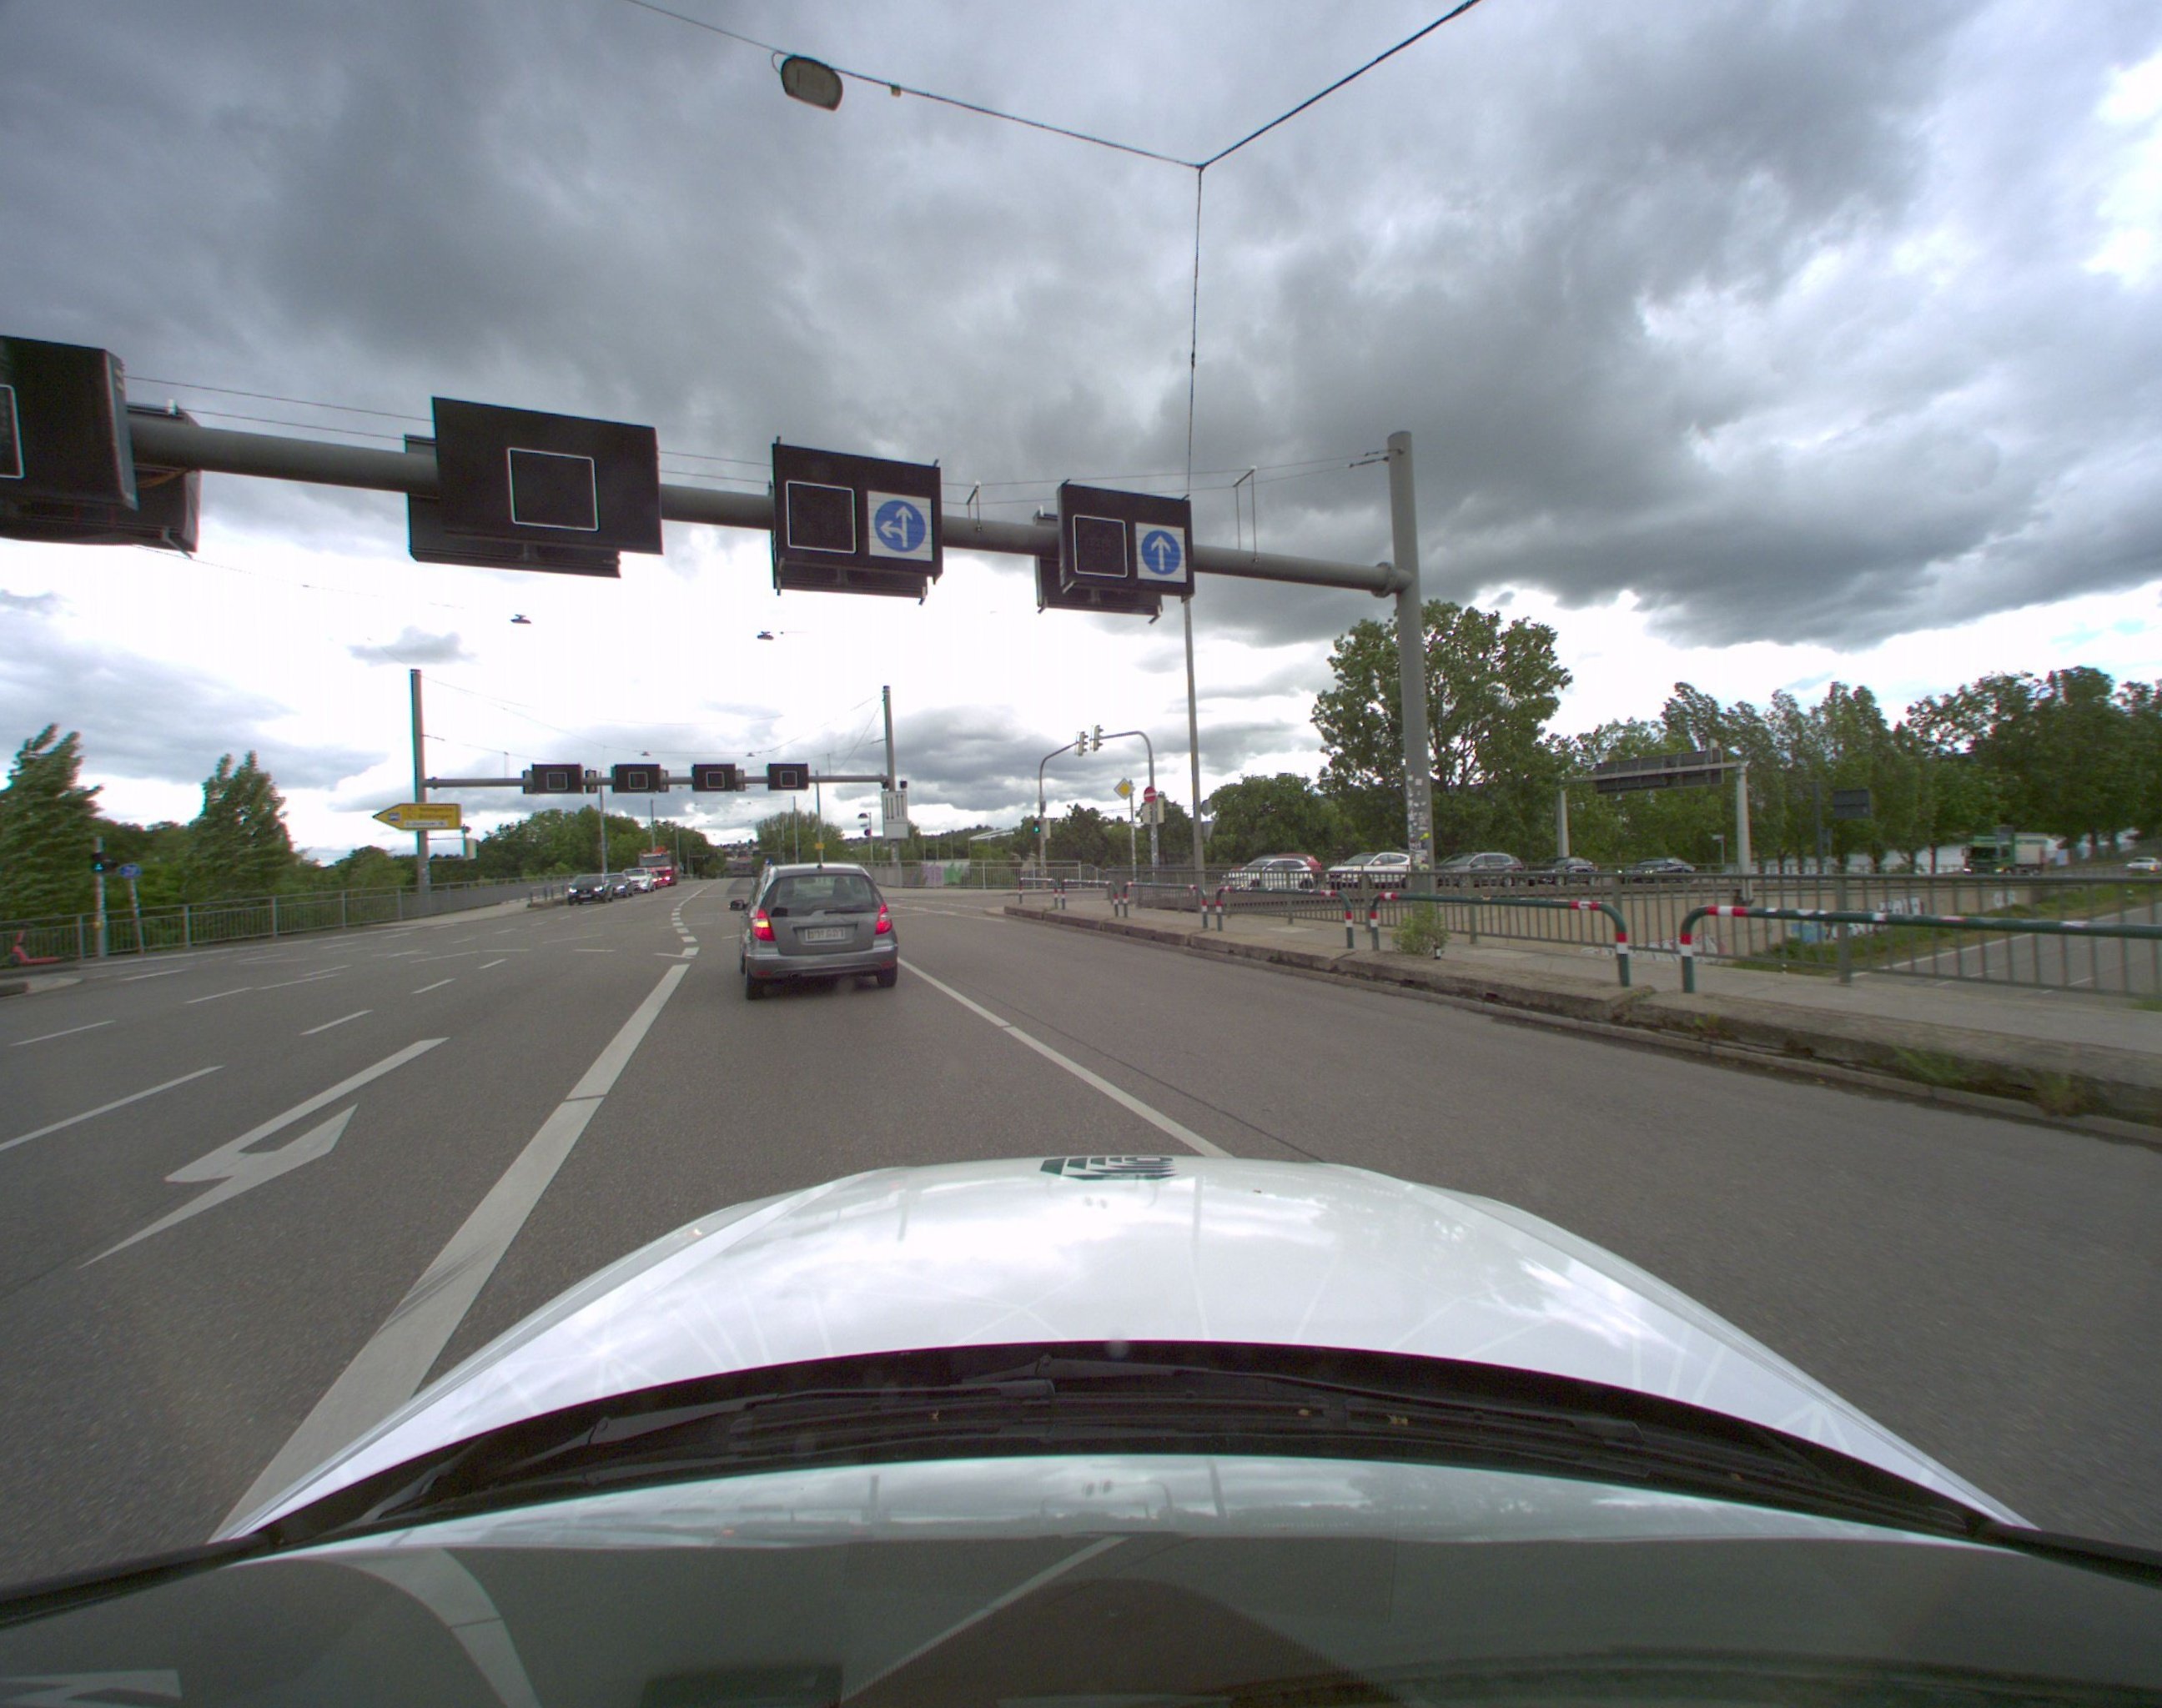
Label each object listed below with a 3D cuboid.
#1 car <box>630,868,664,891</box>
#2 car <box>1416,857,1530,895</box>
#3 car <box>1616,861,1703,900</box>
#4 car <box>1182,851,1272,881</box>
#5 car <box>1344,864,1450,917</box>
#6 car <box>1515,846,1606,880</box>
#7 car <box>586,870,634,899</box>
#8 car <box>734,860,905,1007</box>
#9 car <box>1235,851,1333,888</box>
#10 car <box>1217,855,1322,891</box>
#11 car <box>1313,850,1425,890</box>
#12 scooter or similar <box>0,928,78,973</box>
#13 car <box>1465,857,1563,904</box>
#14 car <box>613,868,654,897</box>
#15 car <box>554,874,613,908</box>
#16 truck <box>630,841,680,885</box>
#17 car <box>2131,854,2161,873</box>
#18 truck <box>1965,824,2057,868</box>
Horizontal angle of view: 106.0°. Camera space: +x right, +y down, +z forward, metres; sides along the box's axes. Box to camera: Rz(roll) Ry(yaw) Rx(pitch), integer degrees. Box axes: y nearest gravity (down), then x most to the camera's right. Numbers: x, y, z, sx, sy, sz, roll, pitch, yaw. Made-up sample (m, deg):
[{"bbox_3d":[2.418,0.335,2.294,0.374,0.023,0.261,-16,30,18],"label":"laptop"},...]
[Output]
[{"bbox_3d":[-34.300,1.988,64.446,1.888,1.602,3.984,-4,1,-23],"label":"car"},{"bbox_3d":[18.209,0.999,37.831,4.969,1.619,1.984,-1,-2,-24],"label":"car"},{"bbox_3d":[31.205,1.377,43.916,4.006,1.617,1.984,-6,2,-24],"label":"car"},{"bbox_3d":[7.220,0.590,40.289,4.161,1.421,1.681,-1,-2,-26],"label":"car"},{"bbox_3d":[15.332,1.719,39.518,4.552,2.013,2.195,-5,2,-25],"label":"car"},{"bbox_3d":[24.118,0.451,40.988,4.006,1.618,1.984,-1,-2,-24],"label":"car"},{"bbox_3d":[-28.249,1.798,48.940,1.844,1.504,4.482,-4,1,-23],"label":"car"},{"bbox_3d":[-3.685,0.893,11.035,1.753,1.550,3.840,-2,0,-24],"label":"car"},{"bbox_3d":[9.003,0.676,36.135,4.015,1.540,1.681,-1,-2,-25],"label":"car"},{"bbox_3d":[7.519,0.762,32.549,3.770,1.313,1.776,-1,-2,-24],"label":"car"},{"bbox_3d":[12.431,0.687,35.197,4.348,1.619,1.984,-1,-2,-24],"label":"car"},{"bbox_3d":[-29.693,2.725,23.143,1.340,1.056,0.480,-6,2,-31],"label":"scooter or similar"},{"bbox_3d":[22.990,1.358,43.237,4.552,2.013,2.195,-5,2,-25],"label":"car"},{"bbox_3d":[-30.969,1.930,56.480,1.888,1.761,4.765,-4,1,-23],"label":"car"},{"bbox_3d":[-25.903,1.885,42.545,1.842,1.504,3.844,-4,1,-21],"label":"car"},{"bbox_3d":[-38.502,0.779,73.969,3.019,3.565,9.905,-4,1,-23],"label":"truck"},{"bbox_3d":[112.756,0.975,85.846,3.781,1.669,1.982,-6,2,-28],"label":"car"},{"bbox_3d":[82.855,-0.733,72.546,9.271,3.509,2.760,-3,0,-24],"label":"truck"}]
